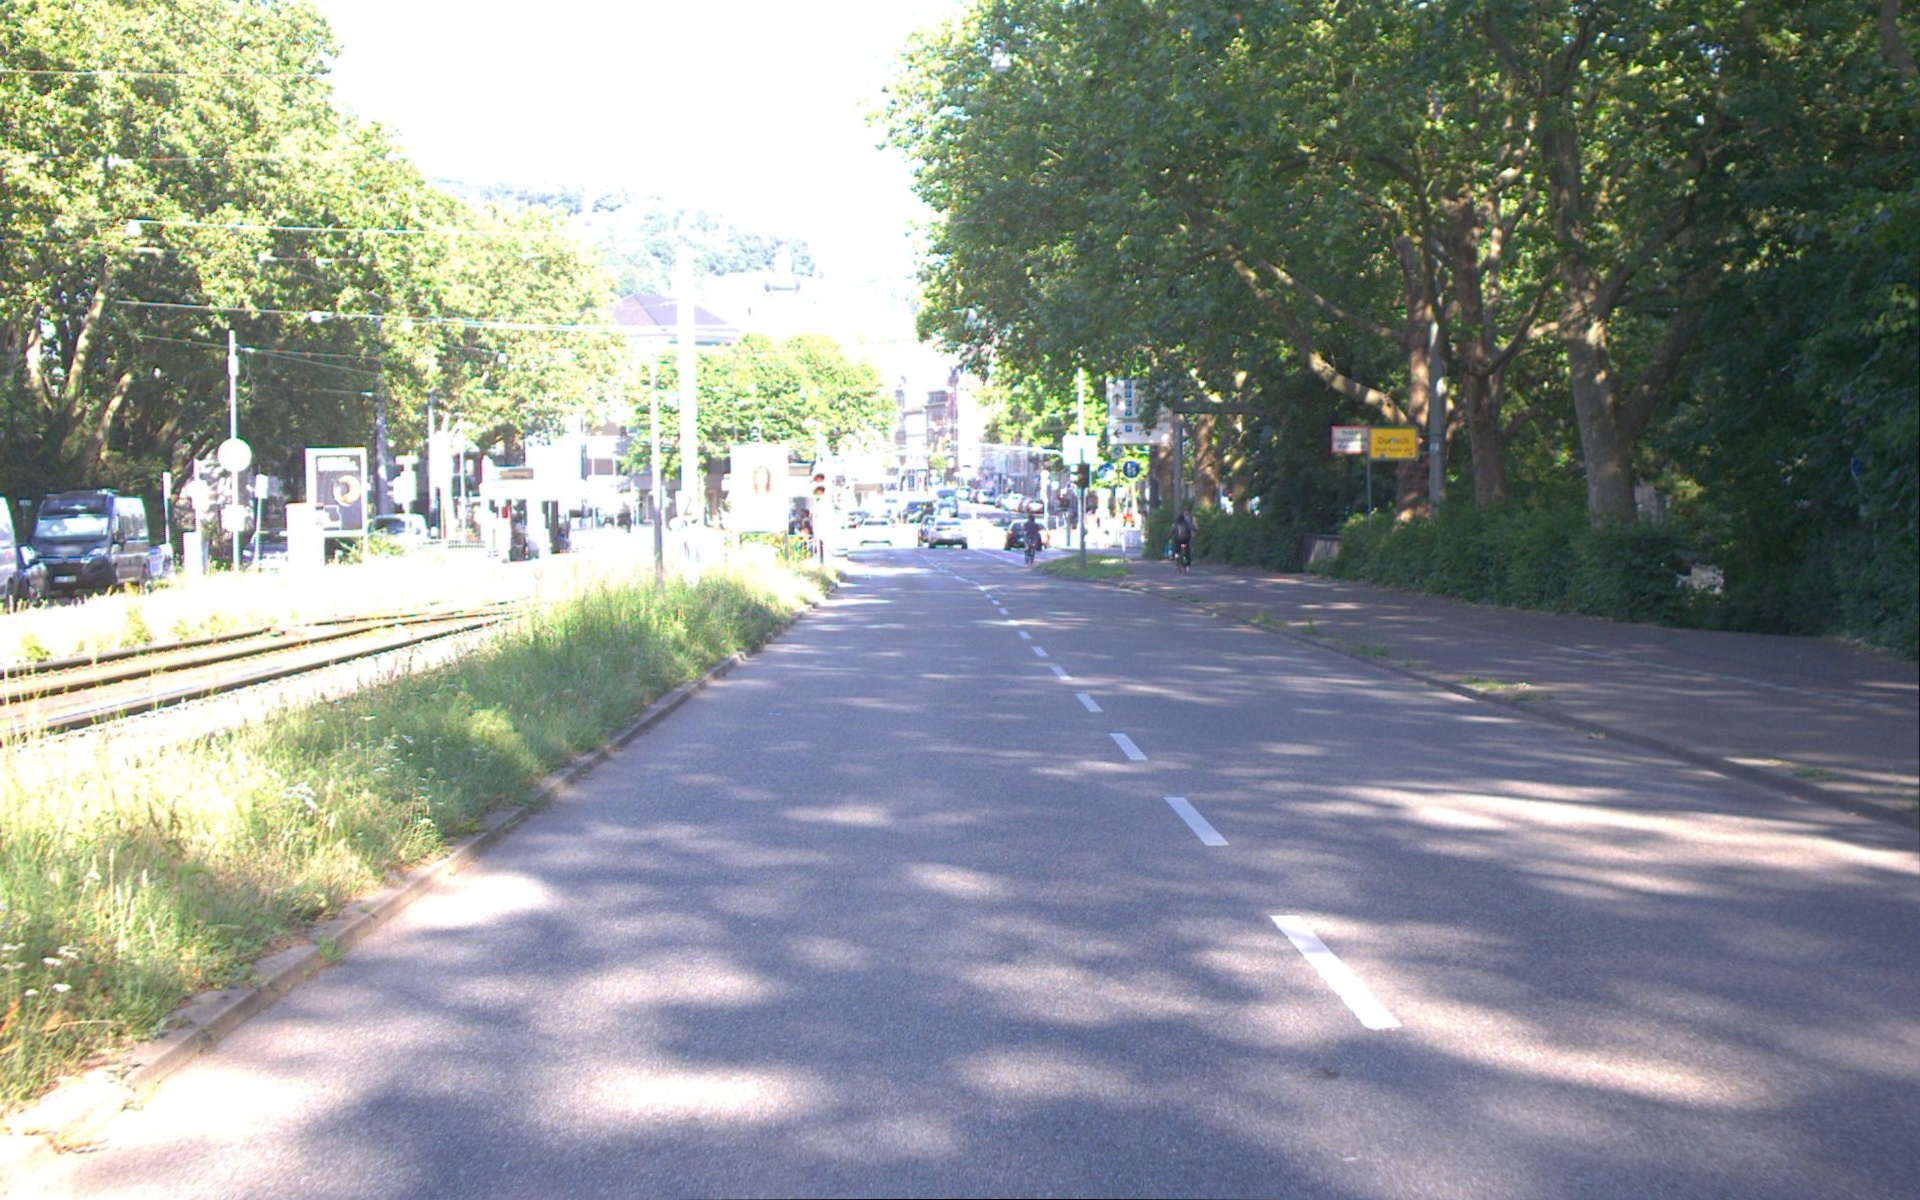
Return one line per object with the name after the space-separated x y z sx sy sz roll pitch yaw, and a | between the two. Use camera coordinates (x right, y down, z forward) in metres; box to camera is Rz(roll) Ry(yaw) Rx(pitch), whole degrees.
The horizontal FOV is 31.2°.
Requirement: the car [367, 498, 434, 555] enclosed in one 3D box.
-22.181 -2.902 136.431 2.067 2.117 5.091 -2 1 -3 | car

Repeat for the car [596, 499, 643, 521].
-25.471 -6.751 257.136 1.923 1.643 4.177 0 2 19 | car

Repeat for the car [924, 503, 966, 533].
-0.742 -4.094 170.732 1.929 1.467 4.855 0 2 -2 | car

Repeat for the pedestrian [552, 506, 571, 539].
-16.534 -3.222 142.586 0.669 1.320 0.757 -3 2 -3 | pedestrian

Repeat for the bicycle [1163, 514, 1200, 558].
5.799 -1.686 90.125 0.766 1.104 1.800 -1 2 -2 | bicycle

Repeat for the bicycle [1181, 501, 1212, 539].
7.042 -2.383 102.486 0.699 1.104 1.930 -1 2 -3 | bicycle

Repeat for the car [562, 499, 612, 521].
-27.951 -6.740 257.783 1.797 1.643 4.004 0 2 27 | car

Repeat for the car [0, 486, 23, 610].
-20.484 -1.005 68.787 2.183 2.512 6.273 -2 1 -5 | car

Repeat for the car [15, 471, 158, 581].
-21.245 -1.794 83.851 2.183 2.512 6.034 -2 1 -3 | car

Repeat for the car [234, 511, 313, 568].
-21.339 -1.890 106.984 1.902 1.646 3.974 -2 1 -5 | car

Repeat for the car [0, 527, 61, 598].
-20.948 -0.823 75.659 1.651 1.507 3.266 -2 1 -5 | car

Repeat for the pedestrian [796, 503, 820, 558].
-4.298 -1.954 97.094 0.589 1.514 0.514 -3 1 -1 | pedestrian

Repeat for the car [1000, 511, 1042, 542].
2.938 -3.571 165.797 1.800 1.434 4.046 1 2 -2 | car

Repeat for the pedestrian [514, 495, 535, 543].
-16.069 -2.987 126.839 0.648 1.766 0.650 1 1 1 | pedestrian

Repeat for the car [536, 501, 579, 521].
-30.385 -6.732 259.740 1.796 1.505 4.007 0 2 17 | car

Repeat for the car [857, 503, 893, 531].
-4.437 -4.357 179.716 1.808 1.447 4.001 0 2 -3 | car

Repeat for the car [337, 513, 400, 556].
-21.944 -2.442 127.630 1.794 1.505 4.342 -2 1 -3 | car

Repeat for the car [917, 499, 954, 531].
-1.278 -4.400 178.021 1.800 1.632 4.046 0 2 -3 | car

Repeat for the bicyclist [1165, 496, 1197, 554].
5.802 -1.964 90.123 0.766 1.507 0.650 -1 2 -2 | bicyclist

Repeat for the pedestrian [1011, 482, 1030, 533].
2.191 -3.353 124.706 0.657 1.864 0.678 -1 2 -2 | pedestrian

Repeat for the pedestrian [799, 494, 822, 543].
-5.209 -2.849 119.990 0.742 1.688 0.791 1 1 -1 | pedestrian

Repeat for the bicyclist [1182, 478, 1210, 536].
7.040 -2.781 102.478 0.699 1.722 1.080 -1 1 -3 | bicyclist
